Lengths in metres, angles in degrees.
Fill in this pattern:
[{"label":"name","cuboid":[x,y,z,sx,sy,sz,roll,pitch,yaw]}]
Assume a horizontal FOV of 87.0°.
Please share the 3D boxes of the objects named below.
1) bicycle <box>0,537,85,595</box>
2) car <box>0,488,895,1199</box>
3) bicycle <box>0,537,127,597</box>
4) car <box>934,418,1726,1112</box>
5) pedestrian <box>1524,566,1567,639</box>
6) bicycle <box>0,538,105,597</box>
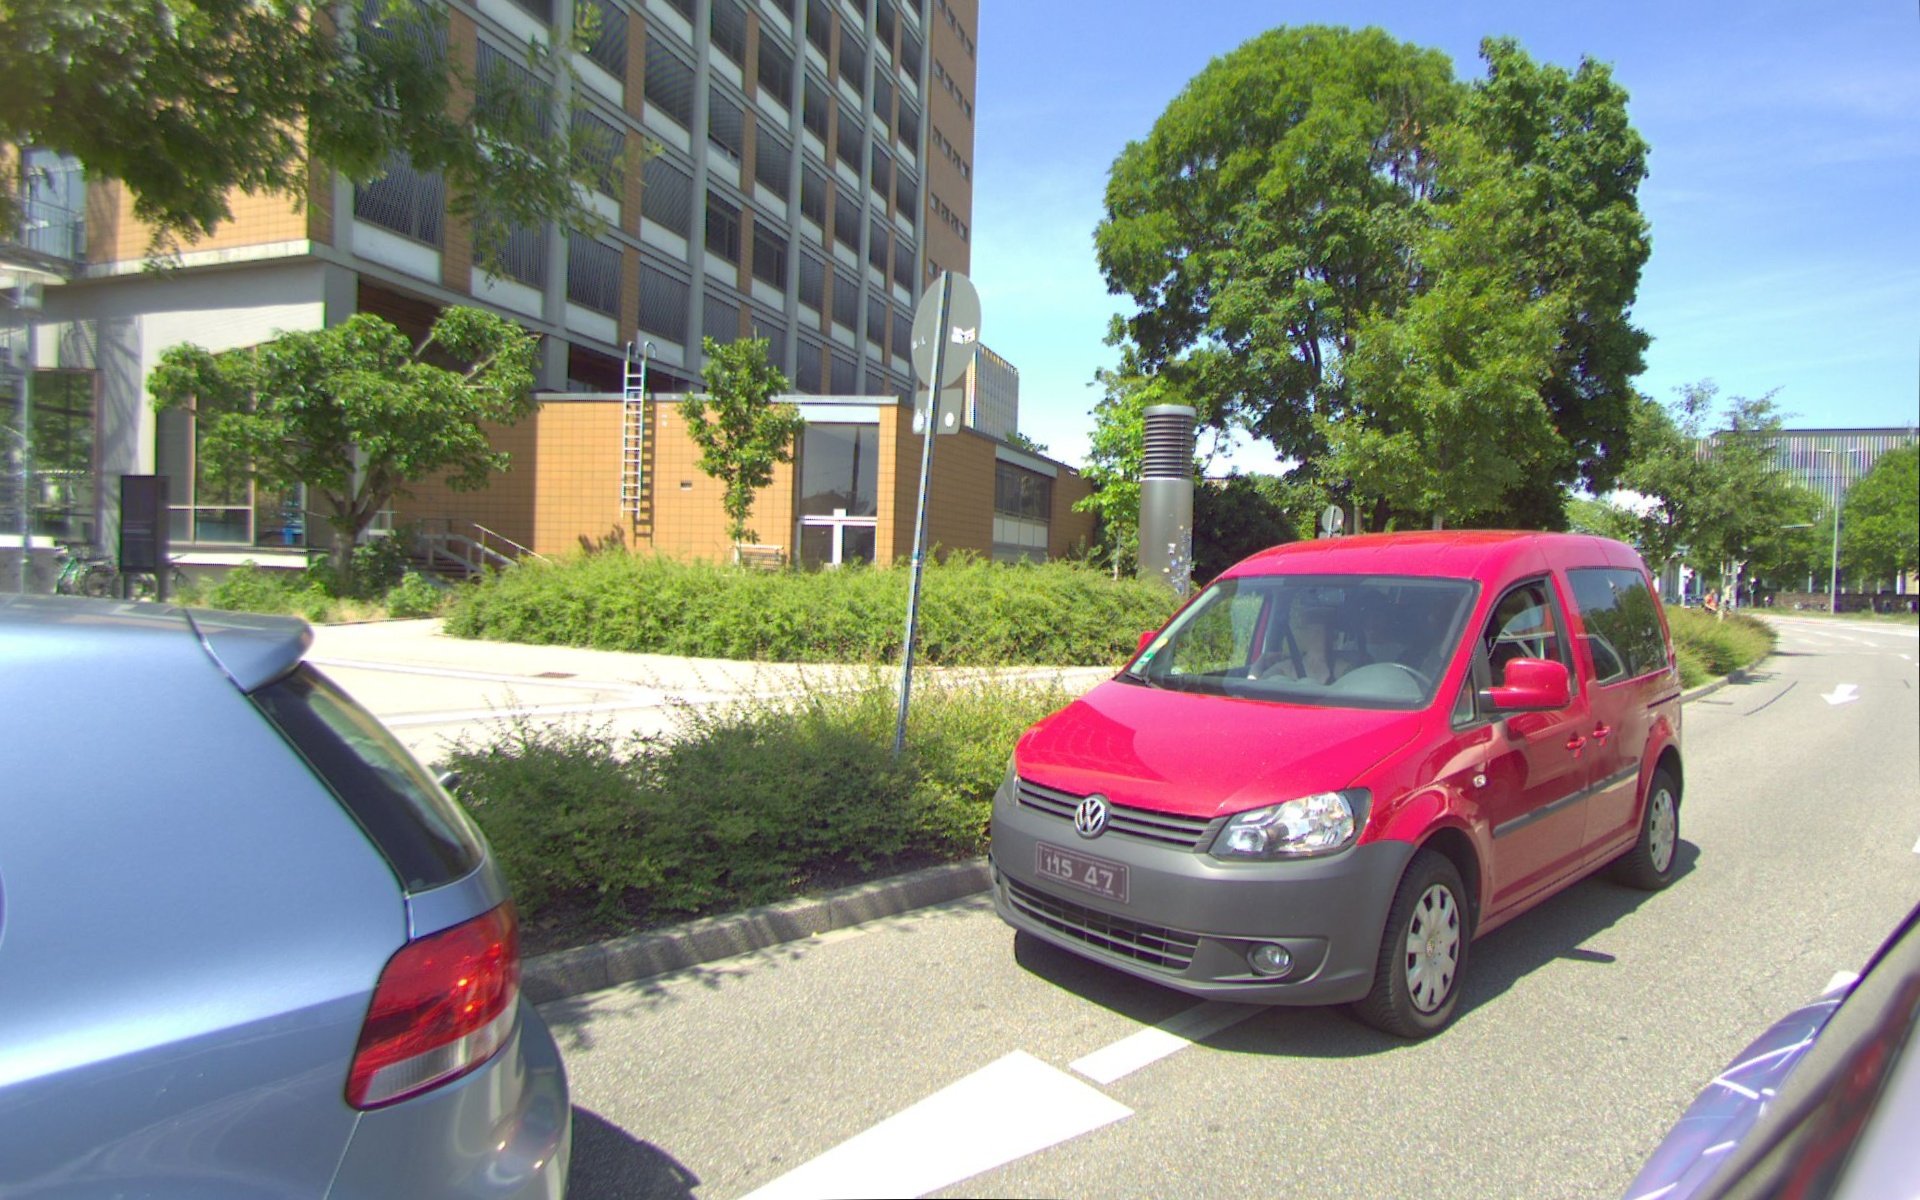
[{"label":"bicycle","cuboid":[-20.748,-0.736,22.276,0.630,1.233,2.201,0,0,22]},{"label":"car","cuboid":[-2.132,0.614,1.109,3.934,1.477,1.654,0,0,-41]},{"label":"bicycle","cuboid":[-19.275,-0.683,21.666,0.630,1.233,2.201,0,0,22]},{"label":"car","cuboid":[2.114,0.435,4.857,4.467,1.882,1.654,0,1,-42]},{"label":"pedestrian","cuboid":[14.873,0.062,25.710,0.603,1.820,0.728,1,1,-40]},{"label":"bicycle","cuboid":[-20.067,-0.687,22.025,0.630,1.233,2.201,0,0,22]}]
